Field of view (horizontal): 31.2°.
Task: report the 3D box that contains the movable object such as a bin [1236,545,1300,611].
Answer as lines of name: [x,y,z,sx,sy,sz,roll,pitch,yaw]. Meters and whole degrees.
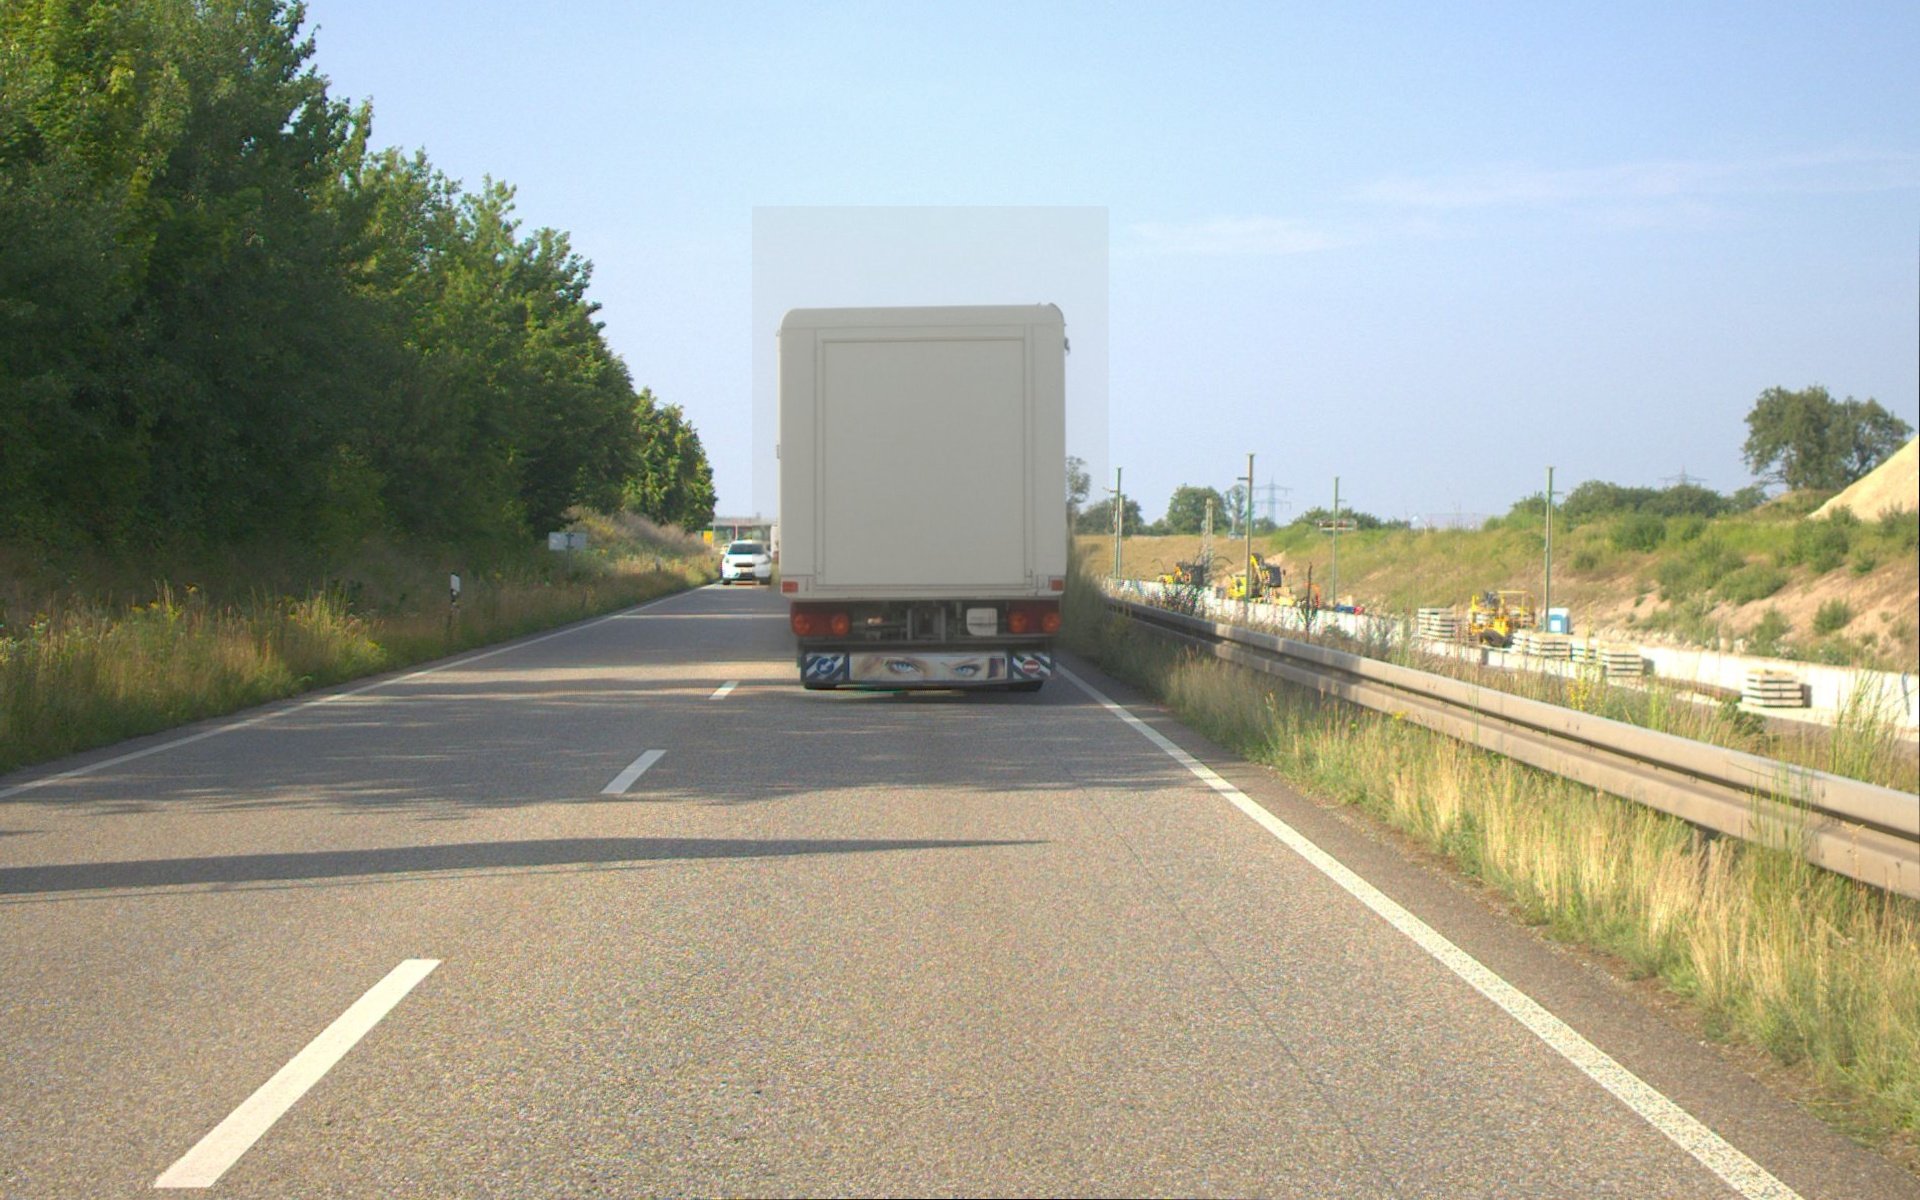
movable object such as a bin: [18.833,-1.384,210.725,2.796,3.872,7.539,1,1,-3]

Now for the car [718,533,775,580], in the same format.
car: [-7.352,-1.509,118.645,1.744,1.559,4.366,1,1,-1]

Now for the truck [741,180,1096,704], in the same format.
truck: [-0.506,-1.483,35.043,3.153,4.672,8.442,0,1,-2]

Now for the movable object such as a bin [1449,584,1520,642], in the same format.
movable object such as a bin: [25.023,0.597,163.881,2.907,2.652,2.017,1,1,23]
